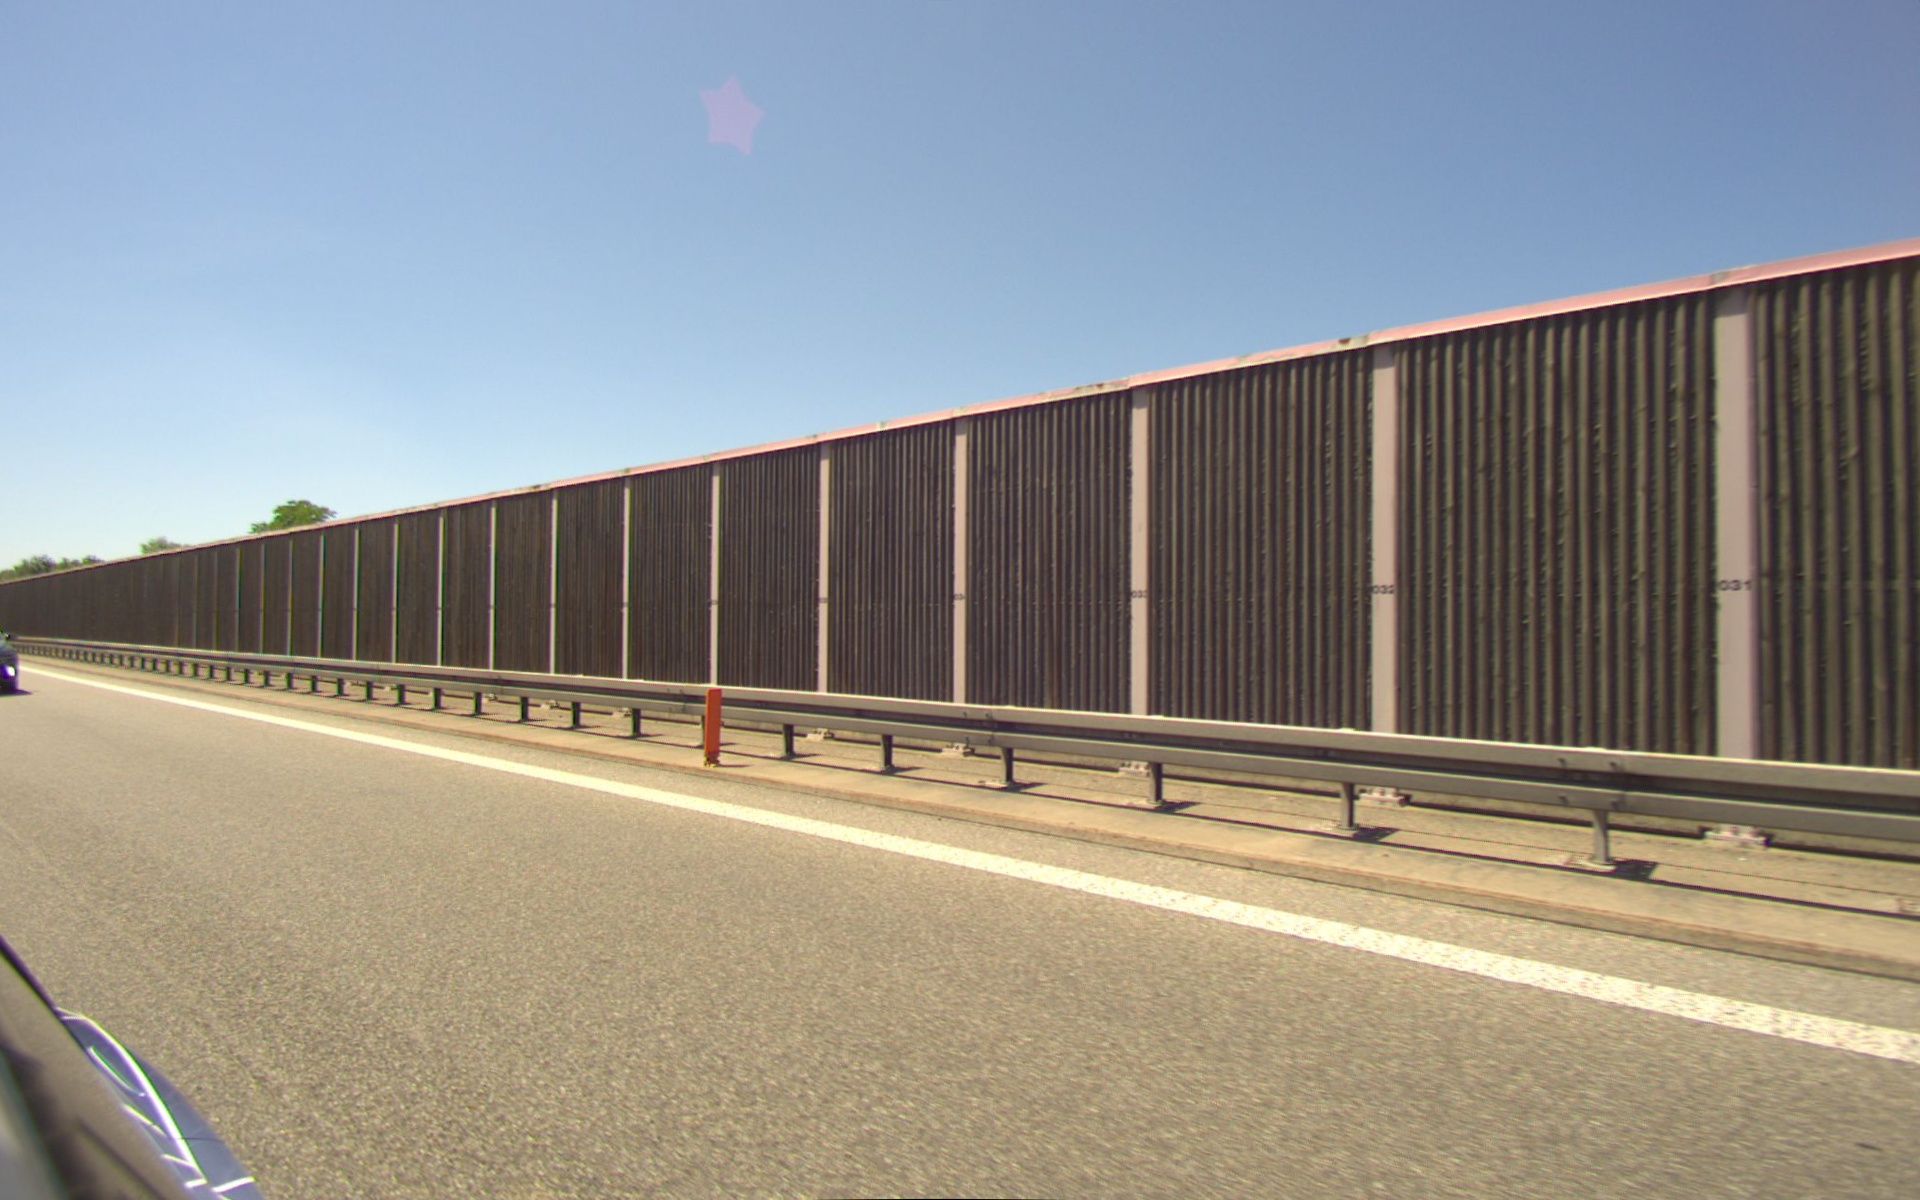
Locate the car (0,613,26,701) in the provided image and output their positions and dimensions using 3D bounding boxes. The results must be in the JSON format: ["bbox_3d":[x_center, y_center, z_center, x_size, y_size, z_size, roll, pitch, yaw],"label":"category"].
[{"bbox_3d":[-20.428,1.137,20.275,5.003,1.652,1.861,-2,-2,39],"label":"car"}]
